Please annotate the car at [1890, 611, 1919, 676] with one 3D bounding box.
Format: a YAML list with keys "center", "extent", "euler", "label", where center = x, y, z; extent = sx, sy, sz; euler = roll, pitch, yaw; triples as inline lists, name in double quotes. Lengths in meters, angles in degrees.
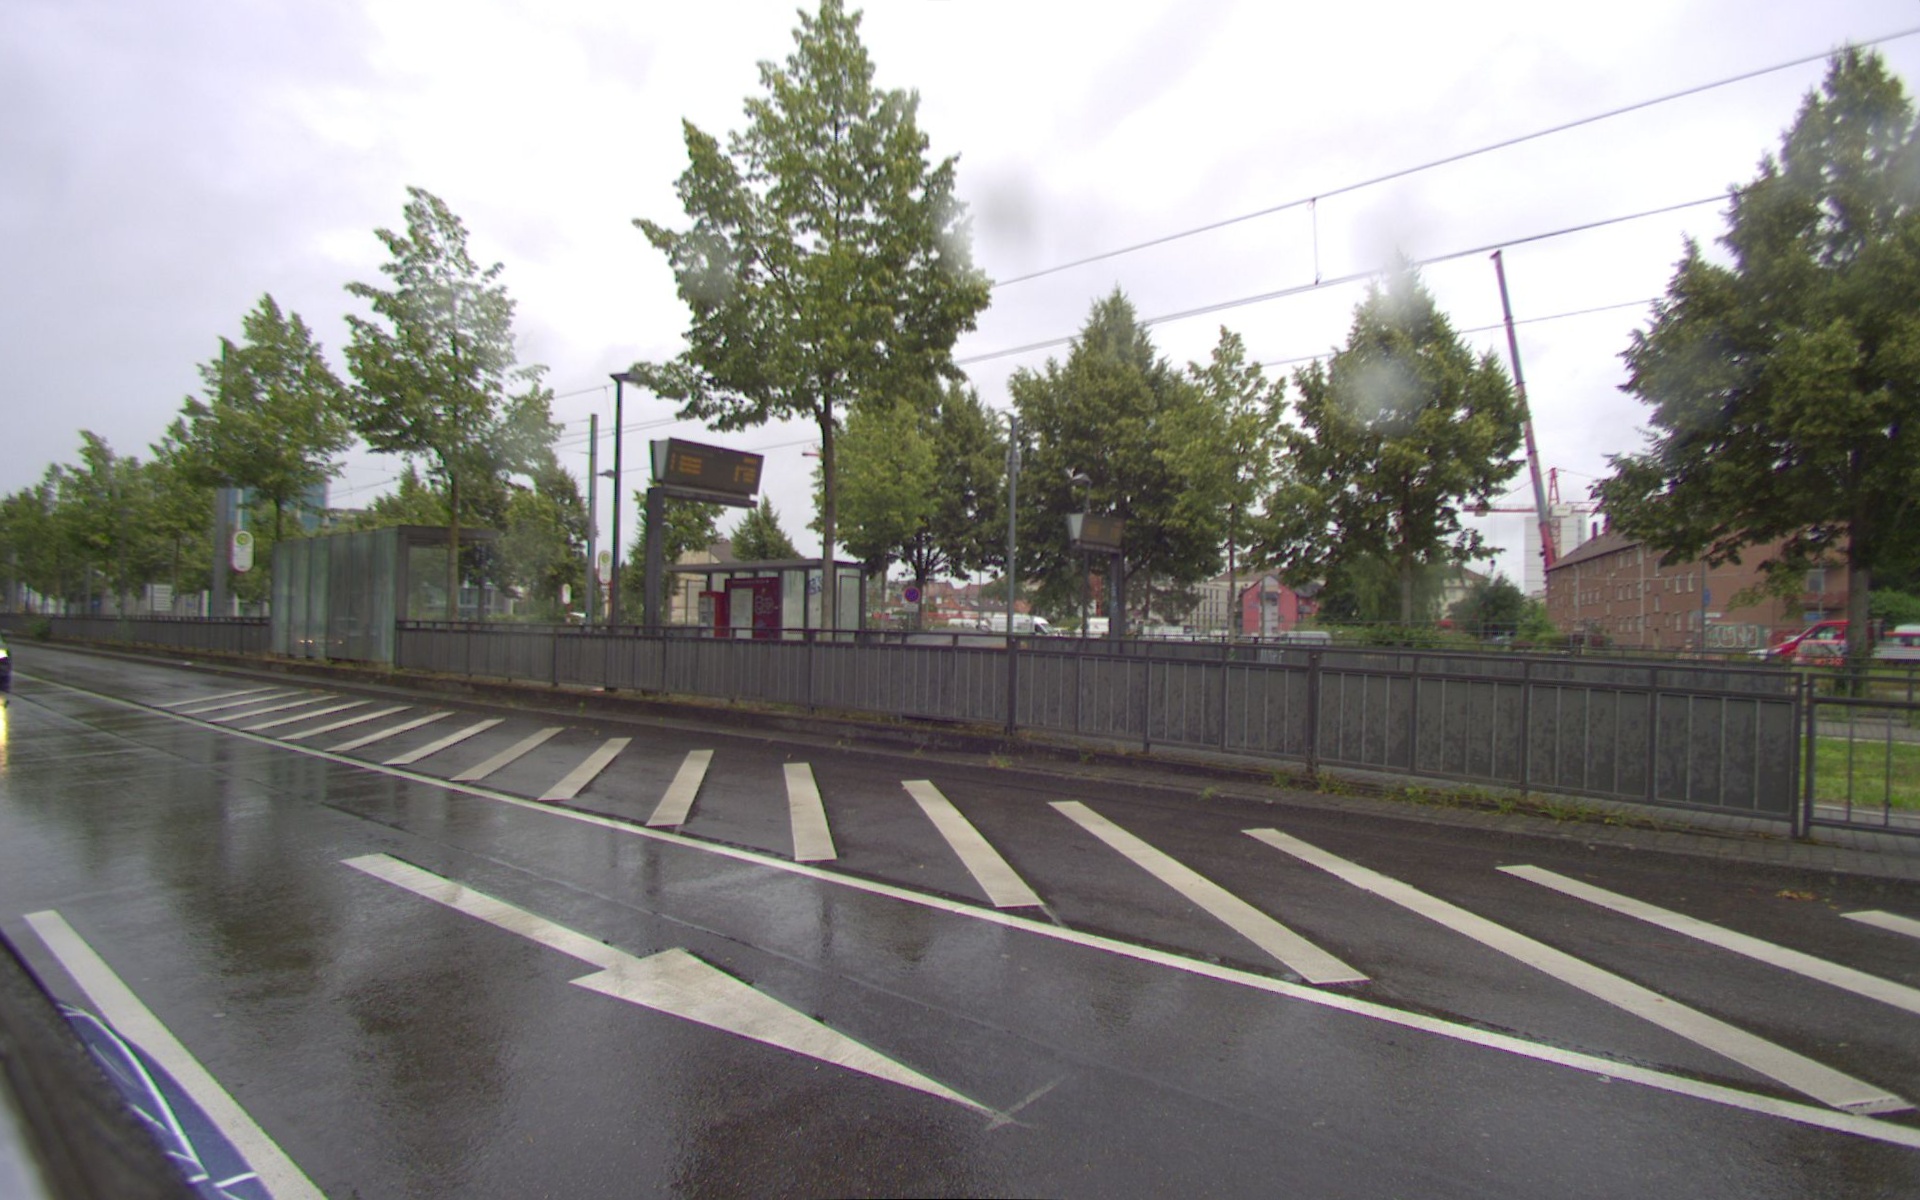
- center: [46.136, 1.984, 45.196]
  extent: [2.319, 2.961, 6.441]
  euler: [-1, 0, -38]
  label: "car"

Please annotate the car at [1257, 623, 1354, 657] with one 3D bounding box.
- center: [26.561, 3.039, 77.948]
  extent: [6.804, 2.495, 2.335]
  euler: [0, -2, 28]
  label: "car"

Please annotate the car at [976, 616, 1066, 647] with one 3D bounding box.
- center: [5.141, 2.659, 86.076]
  extent: [7.627, 2.495, 2.327]
  euler: [-1, 0, 38]
  label: "car"

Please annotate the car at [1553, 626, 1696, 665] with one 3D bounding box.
- center: [37.138, 2.481, 56.813]
  extent: [6.393, 2.029, 2.336]
  euler: [-1, 0, 26]
  label: "car"

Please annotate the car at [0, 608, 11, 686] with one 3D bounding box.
- center: [-21.081, 0.951, 20.747]
  extent: [4.326, 1.529, 1.766]
  euler: [-1, 0, 38]
  label: "car"

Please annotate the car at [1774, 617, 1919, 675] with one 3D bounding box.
- center: [34.699, 1.669, 37.726]
  extent: [2.319, 2.029, 6.441]
  euler: [-1, 0, -38]
  label: "car"

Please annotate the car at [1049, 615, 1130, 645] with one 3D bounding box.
- center: [11.371, 2.577, 89.290]
  extent: [6.826, 2.495, 2.470]
  euler: [-1, 0, 38]
  label: "car"

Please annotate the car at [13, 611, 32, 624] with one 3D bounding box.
- center: [-157.803, 2.912, 170.376]
  extent: [3.999, 2.029, 1.972]
  euler: [-1, 0, 42]
  label: "car"

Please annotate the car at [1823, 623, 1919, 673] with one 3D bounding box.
- center: [40.118, 1.982, 41.806]
  extent: [2.319, 2.029, 6.440]
  euler: [2, -3, -38]
  label: "car"
